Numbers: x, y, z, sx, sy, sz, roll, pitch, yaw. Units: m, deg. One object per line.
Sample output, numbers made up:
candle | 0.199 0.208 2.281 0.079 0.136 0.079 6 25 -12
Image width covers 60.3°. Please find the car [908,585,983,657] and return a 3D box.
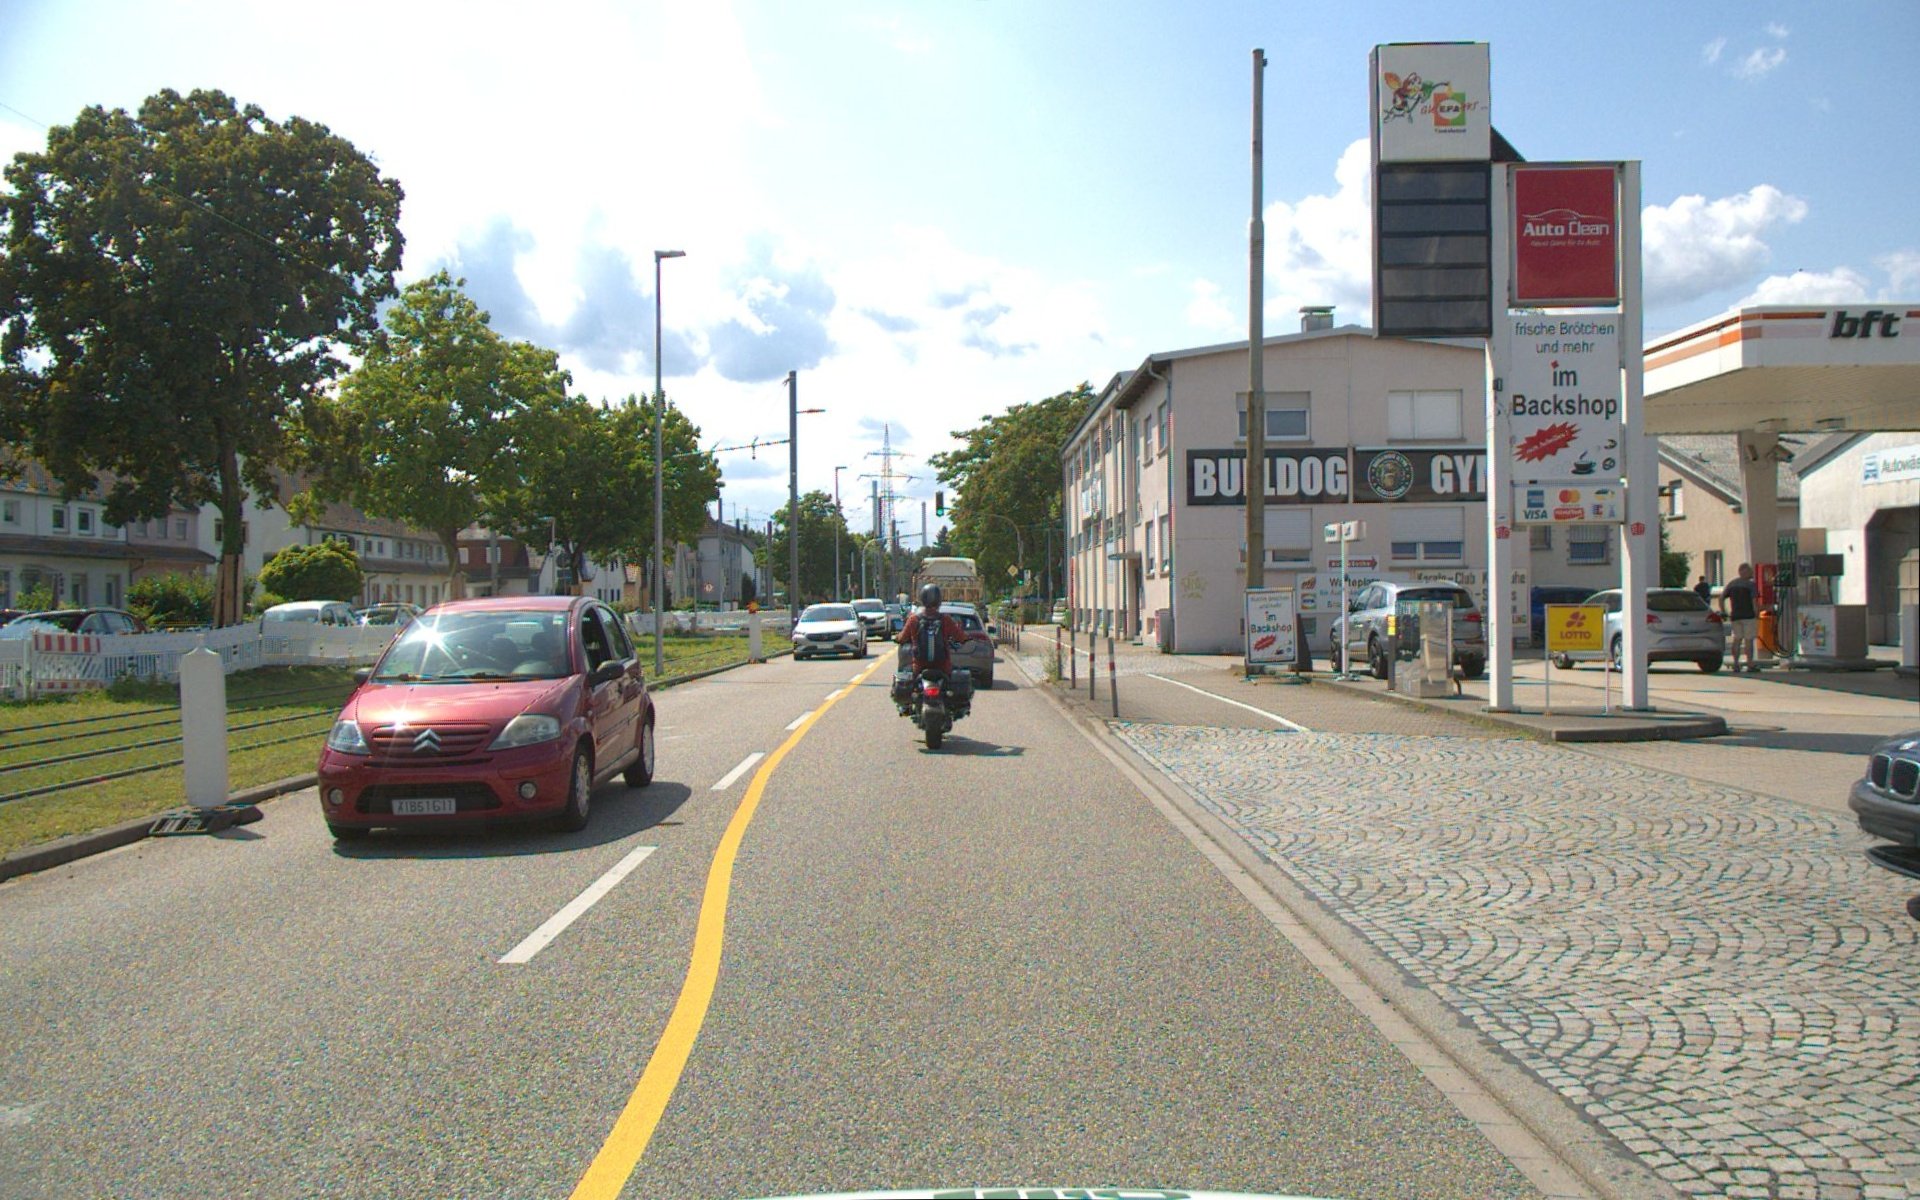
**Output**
car | -0.357 0.506 43.941 1.862 1.742 4.719 -1 1 0

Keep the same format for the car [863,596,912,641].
car | -2.881 0.744 66.477 1.787 1.695 4.461 -2 -1 -1

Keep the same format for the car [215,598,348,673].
car | -16.308 0.839 39.932 1.589 1.680 3.898 -2 -1 0

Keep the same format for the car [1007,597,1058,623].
car | 5.716 0.792 129.565 1.773 1.959 3.971 0 -1 45

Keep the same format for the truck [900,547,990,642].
truck | -0.442 -0.138 61.414 2.906 3.229 7.766 1 -1 2

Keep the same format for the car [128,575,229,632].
car | -29.556 0.144 62.683 1.953 2.049 3.999 1 -1 -1

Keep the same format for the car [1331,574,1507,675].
car | 8.050 0.410 29.429 1.905 1.653 4.616 0 0 1

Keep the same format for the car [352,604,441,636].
car | -28.499 1.001 83.758 3.905 1.536 1.725 -1 0 -2

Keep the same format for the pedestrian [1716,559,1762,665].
pedestrian | 13.471 0.209 28.612 0.486 1.808 0.577 1 -1 -3

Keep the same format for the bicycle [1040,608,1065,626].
bicycle | 6.159 1.115 110.033 1.671 1.192 0.438 1 -1 5

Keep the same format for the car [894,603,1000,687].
car | -0.309 0.803 31.209 1.697 1.428 4.082 2 0 -5

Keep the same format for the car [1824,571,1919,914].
car | 6.019 0.617 6.888 3.966 1.433 1.648 0 -1 7

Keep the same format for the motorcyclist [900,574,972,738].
motorcyclist | -0.241 0.567 16.918 0.684 1.632 0.692 1 -1 0

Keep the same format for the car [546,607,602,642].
car | -16.149 1.020 69.370 1.490 1.378 3.621 1 -1 0

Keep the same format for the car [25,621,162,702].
car | -15.595 1.076 29.846 1.050 1.371 2.449 -2 -1 3

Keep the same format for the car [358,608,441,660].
car | -16.137 0.974 47.723 1.322 1.401 3.114 -2 -1 0

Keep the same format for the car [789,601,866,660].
car | -3.516 0.803 44.583 1.784 1.470 4.482 -2 -1 -1

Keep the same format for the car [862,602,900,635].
car | -3.835 0.896 80.663 1.658 1.437 3.858 -4 -1 -1

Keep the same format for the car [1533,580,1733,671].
car | 12.262 0.468 30.451 1.658 1.496 4.420 -2 -1 -3

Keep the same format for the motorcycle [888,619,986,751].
motorcycle | -0.223 0.835 17.186 0.923 1.221 2.472 1 0 0

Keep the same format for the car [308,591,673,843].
car | -3.153 0.705 11.833 1.546 1.495 3.720 -1 0 0
